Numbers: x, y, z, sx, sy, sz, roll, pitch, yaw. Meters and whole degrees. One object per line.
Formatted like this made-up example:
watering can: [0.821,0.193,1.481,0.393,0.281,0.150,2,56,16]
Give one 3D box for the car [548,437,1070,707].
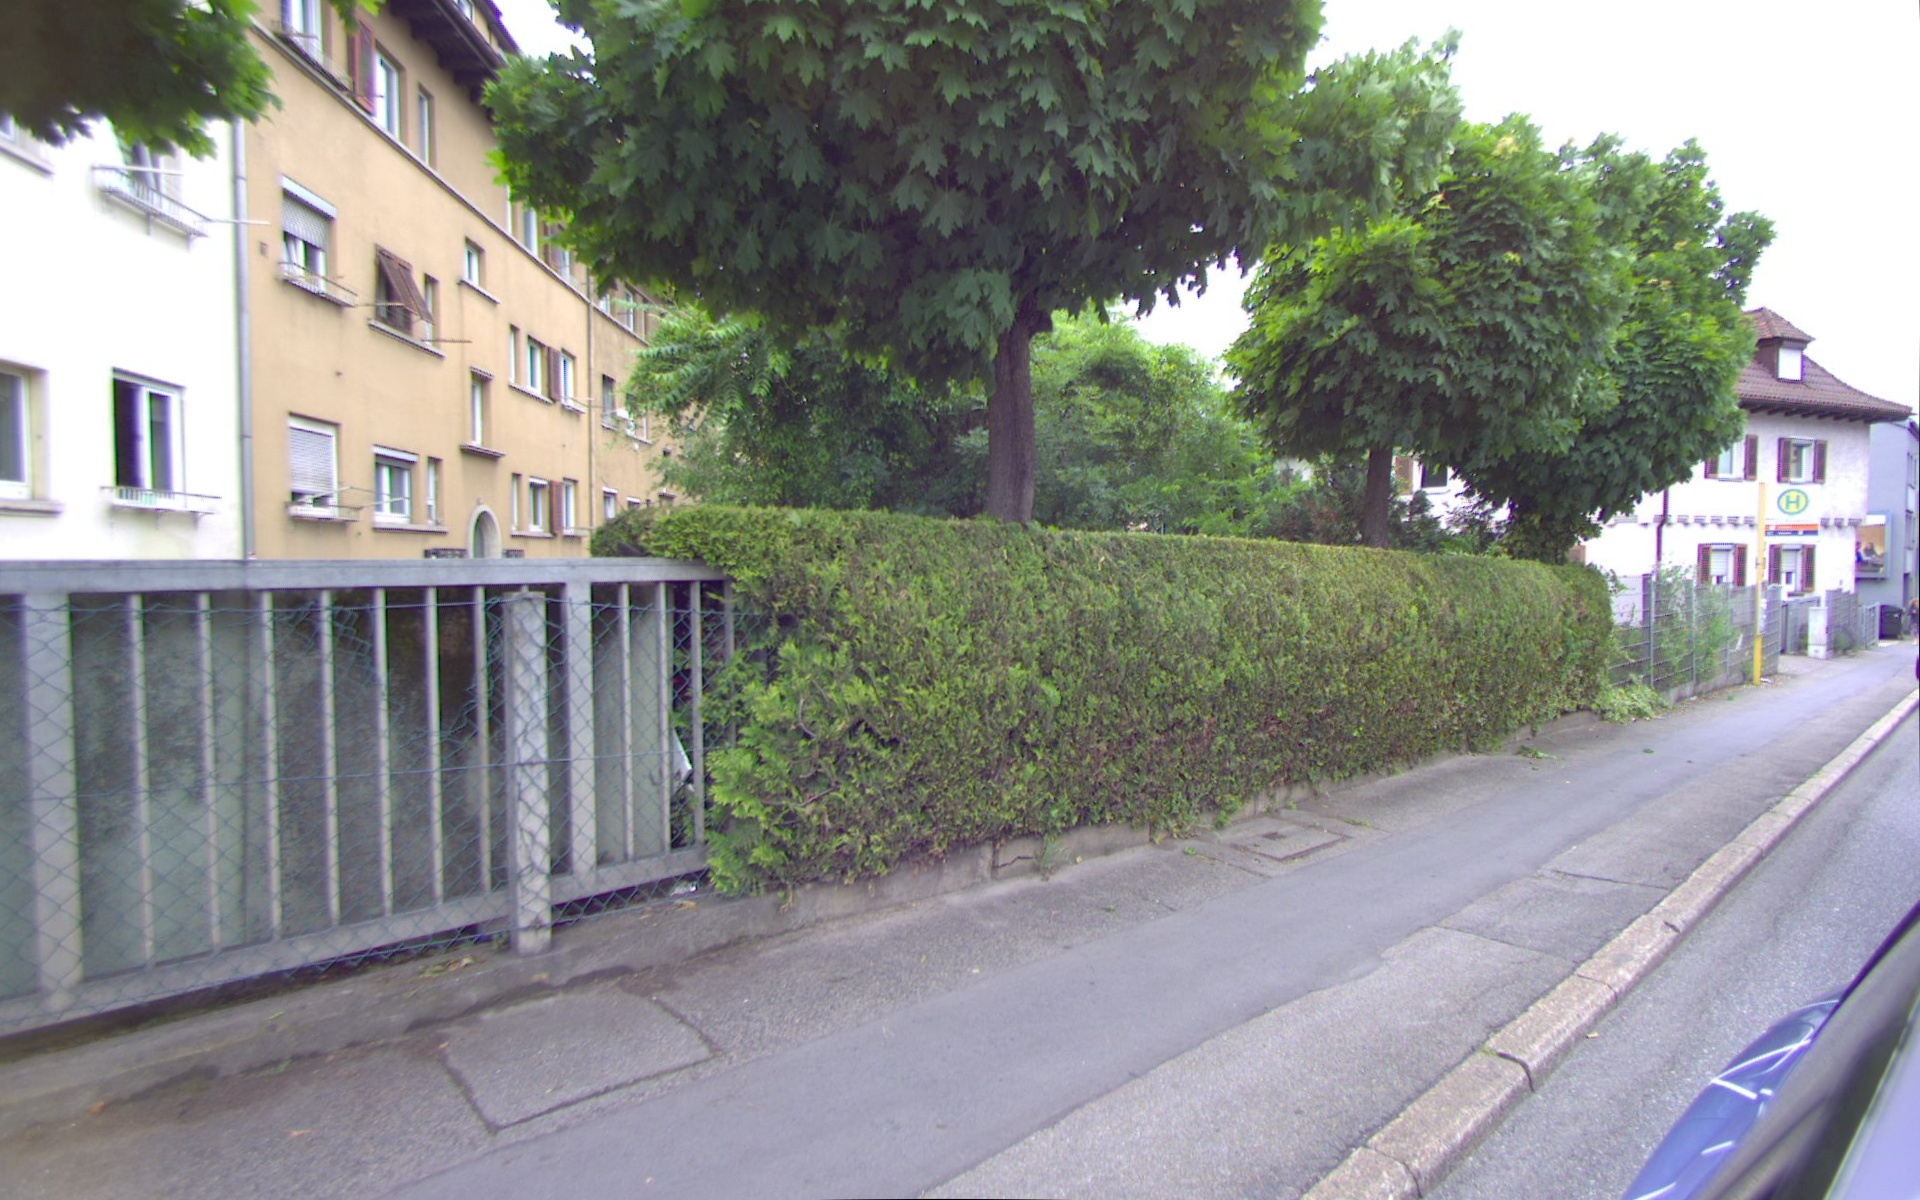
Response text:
car: [-0.958,-0.174,7.322,3.381,1.478,1.698,-1,0,-43]
